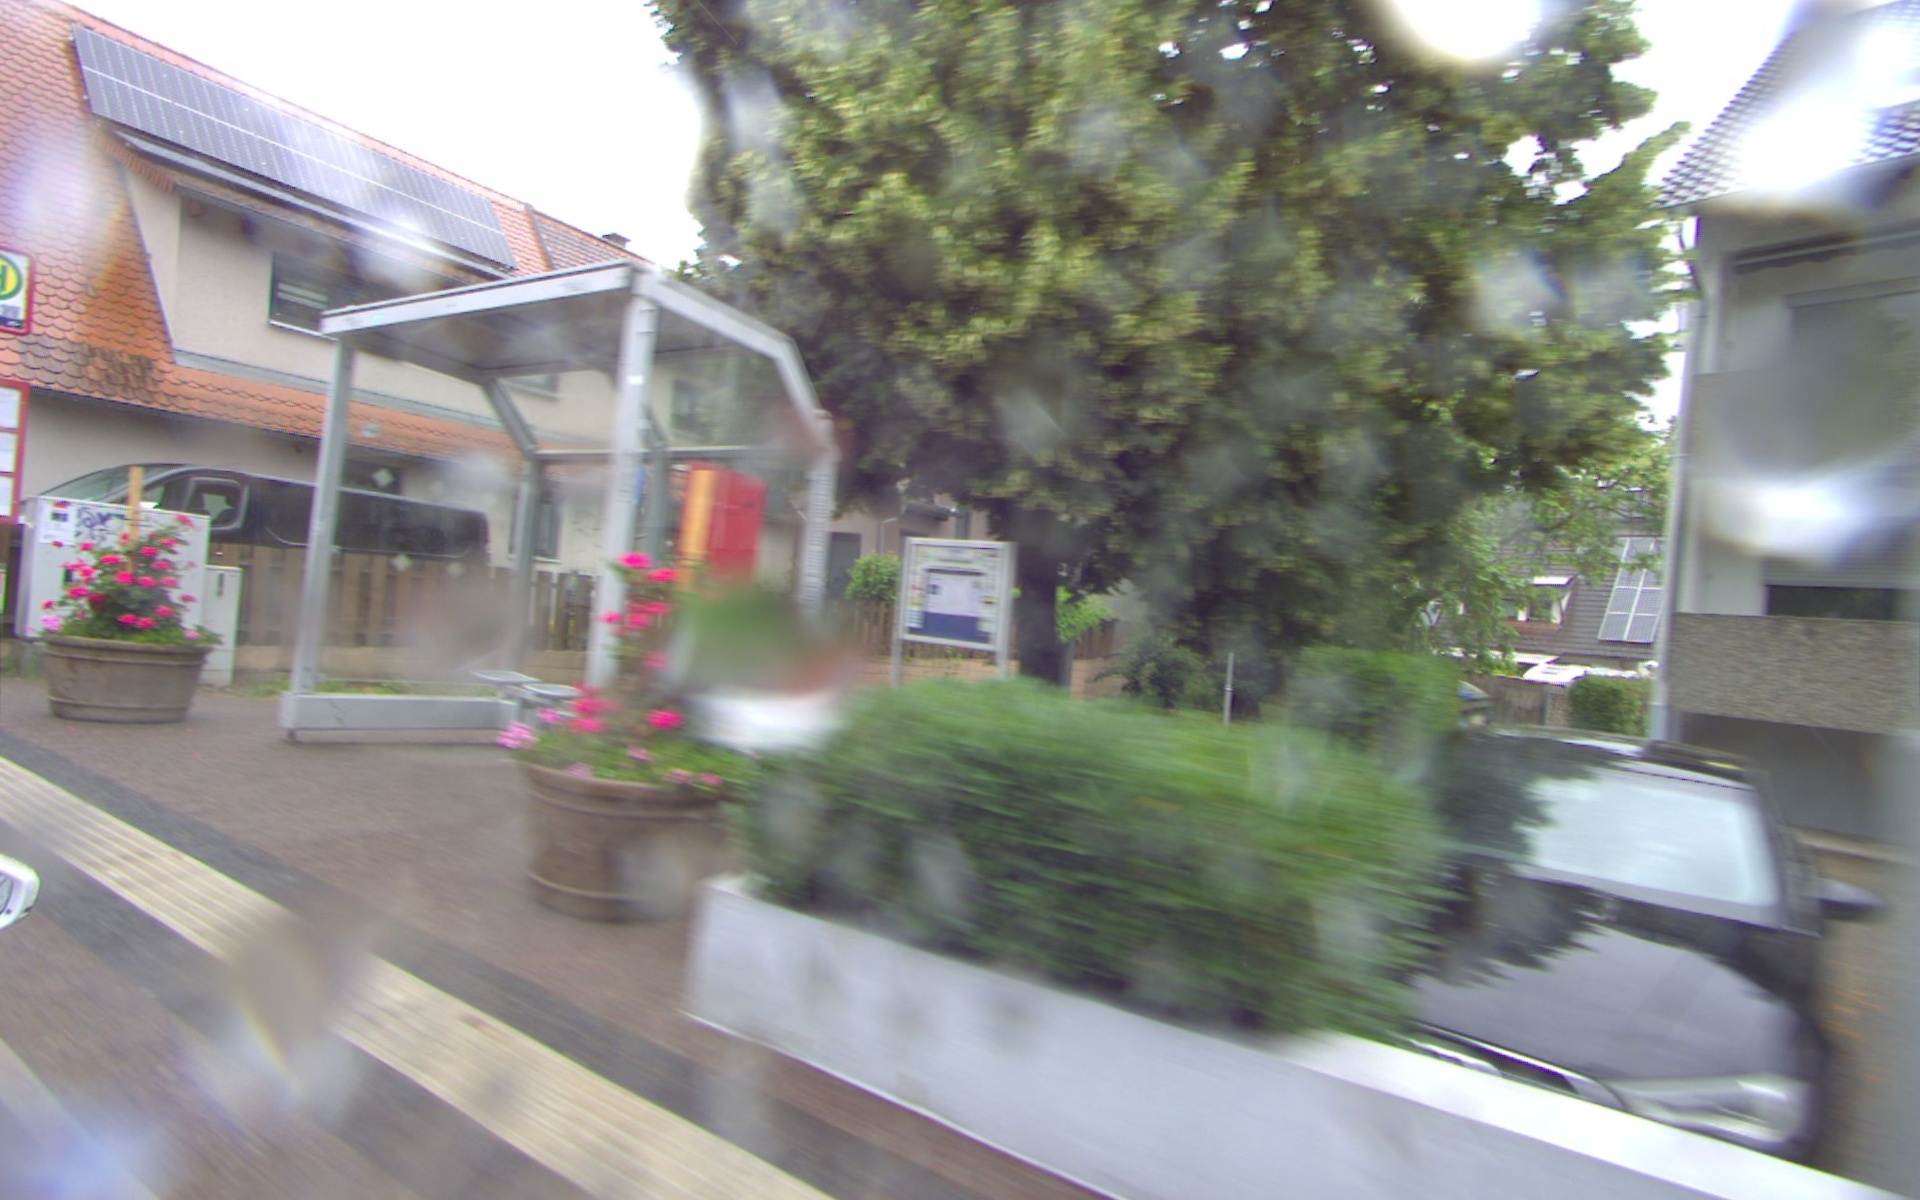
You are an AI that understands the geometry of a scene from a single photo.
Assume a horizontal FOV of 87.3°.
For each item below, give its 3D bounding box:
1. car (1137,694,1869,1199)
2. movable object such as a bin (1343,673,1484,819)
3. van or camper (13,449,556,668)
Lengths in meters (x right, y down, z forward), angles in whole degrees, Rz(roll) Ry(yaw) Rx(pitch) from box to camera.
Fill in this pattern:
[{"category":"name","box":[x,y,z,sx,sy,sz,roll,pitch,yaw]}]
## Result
[{"category":"car","box":[2.568,1.239,4.341,1.727,1.396,3.945,6,0,40]},{"category":"movable object such as a bin","box":[5.074,1.581,11.218,1.137,1.374,1.243,6,0,34]},{"category":"van or camper","box":[-7.739,-0.314,12.238,1.844,1.945,5.080,5,-2,29]}]
